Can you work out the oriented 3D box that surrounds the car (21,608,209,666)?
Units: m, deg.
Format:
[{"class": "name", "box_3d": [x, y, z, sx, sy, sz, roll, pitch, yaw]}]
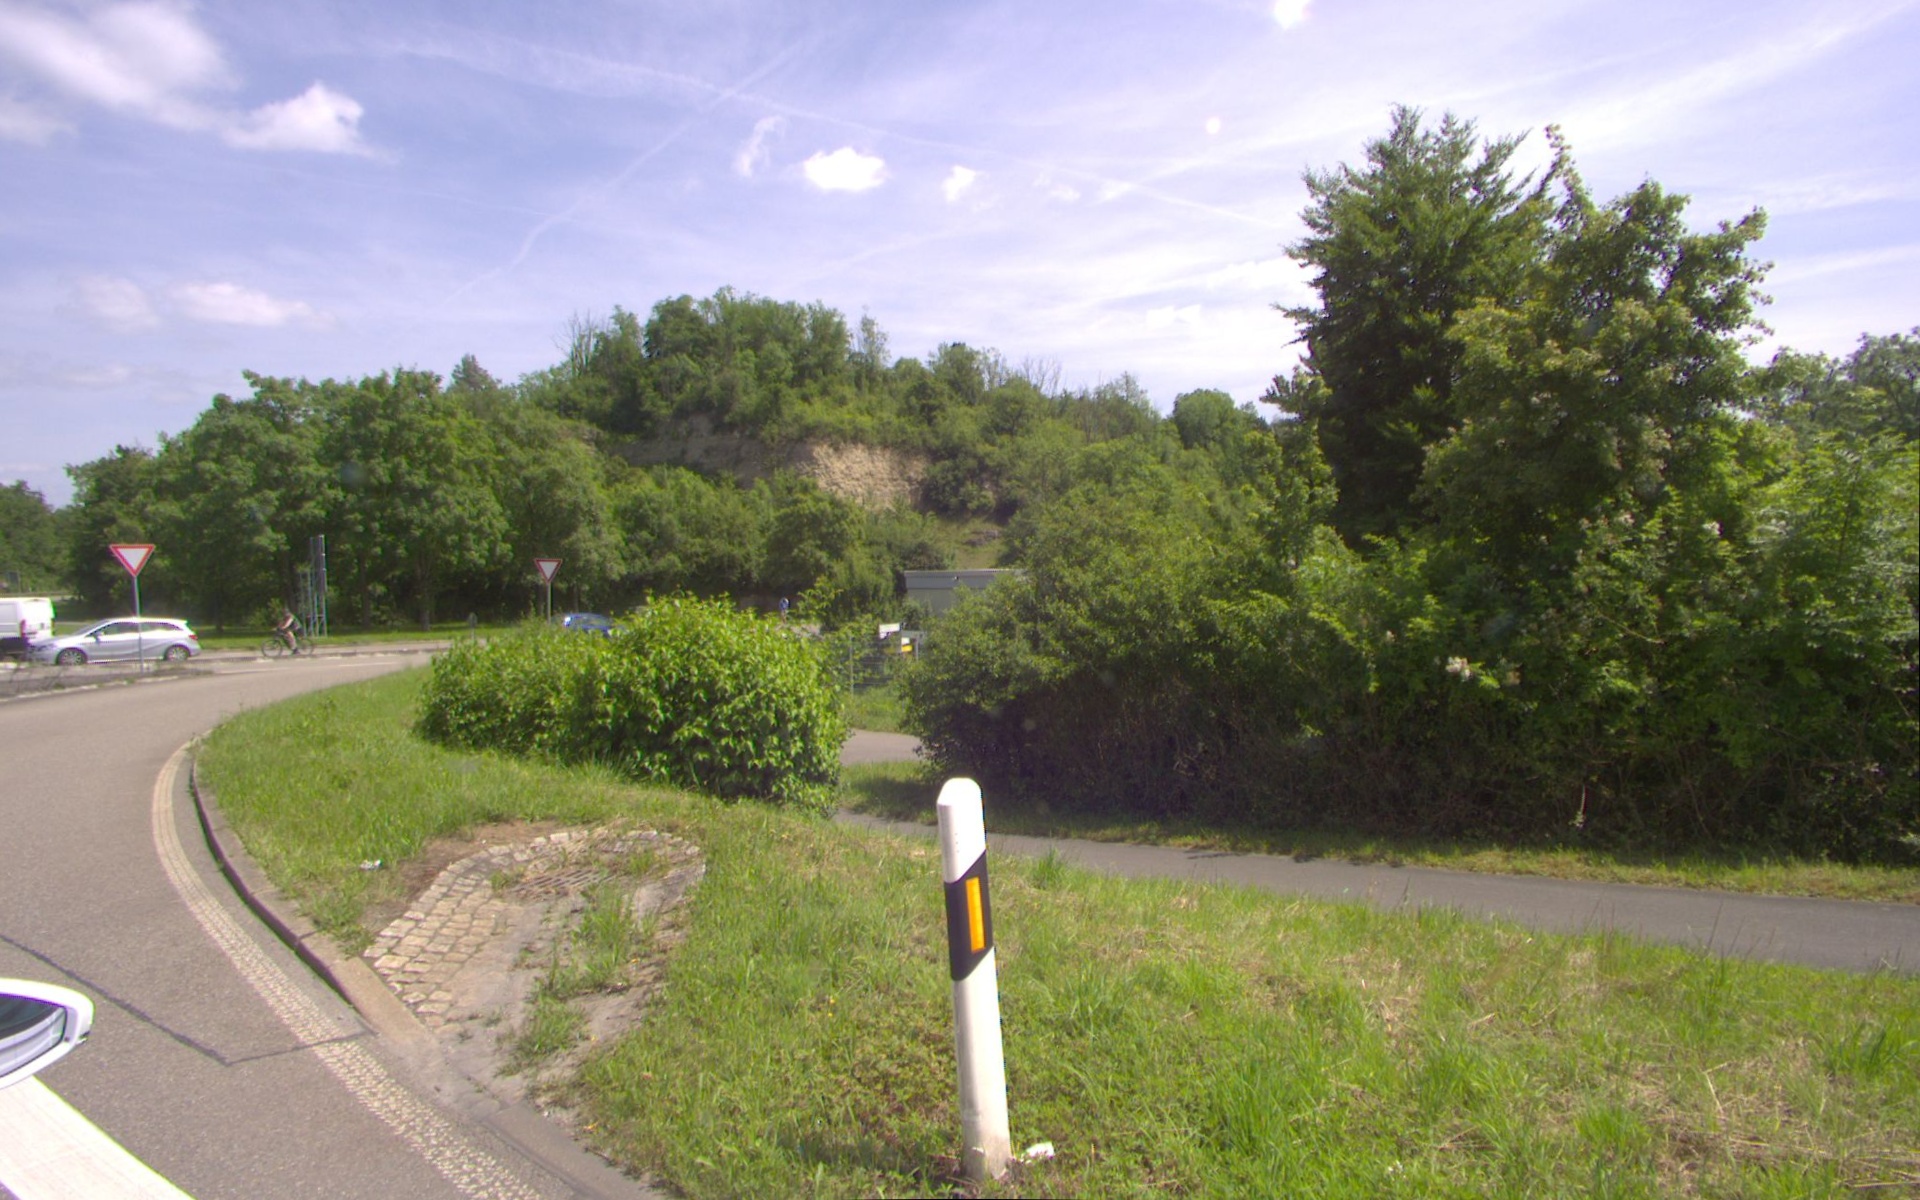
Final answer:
[{"class": "car", "box_3d": [-27.649, 1.216, 32.873, 1.975, 1.740, 4.413, -3, -3, 37]}]

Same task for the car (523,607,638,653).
[{"class": "car", "box_3d": [-14.650, 1.174, 38.855, 1.855, 1.633, 3.838, -3, -3, 32]}]

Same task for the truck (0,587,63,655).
[{"class": "truck", "box_3d": [-35.203, 0.792, 35.179, 5.074, 2.324, 1.996, -1, -2, -20]}]

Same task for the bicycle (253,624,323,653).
[{"class": "bicycle", "box_3d": [-24.667, 1.420, 36.775, 0.785, 1.008, 1.987, -3, -2, 29]}]

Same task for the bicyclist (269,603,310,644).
[{"class": "bicyclist", "box_3d": [-24.653, 0.869, 36.829, 0.784, 1.466, 1.004, -3, -2, 30]}]
